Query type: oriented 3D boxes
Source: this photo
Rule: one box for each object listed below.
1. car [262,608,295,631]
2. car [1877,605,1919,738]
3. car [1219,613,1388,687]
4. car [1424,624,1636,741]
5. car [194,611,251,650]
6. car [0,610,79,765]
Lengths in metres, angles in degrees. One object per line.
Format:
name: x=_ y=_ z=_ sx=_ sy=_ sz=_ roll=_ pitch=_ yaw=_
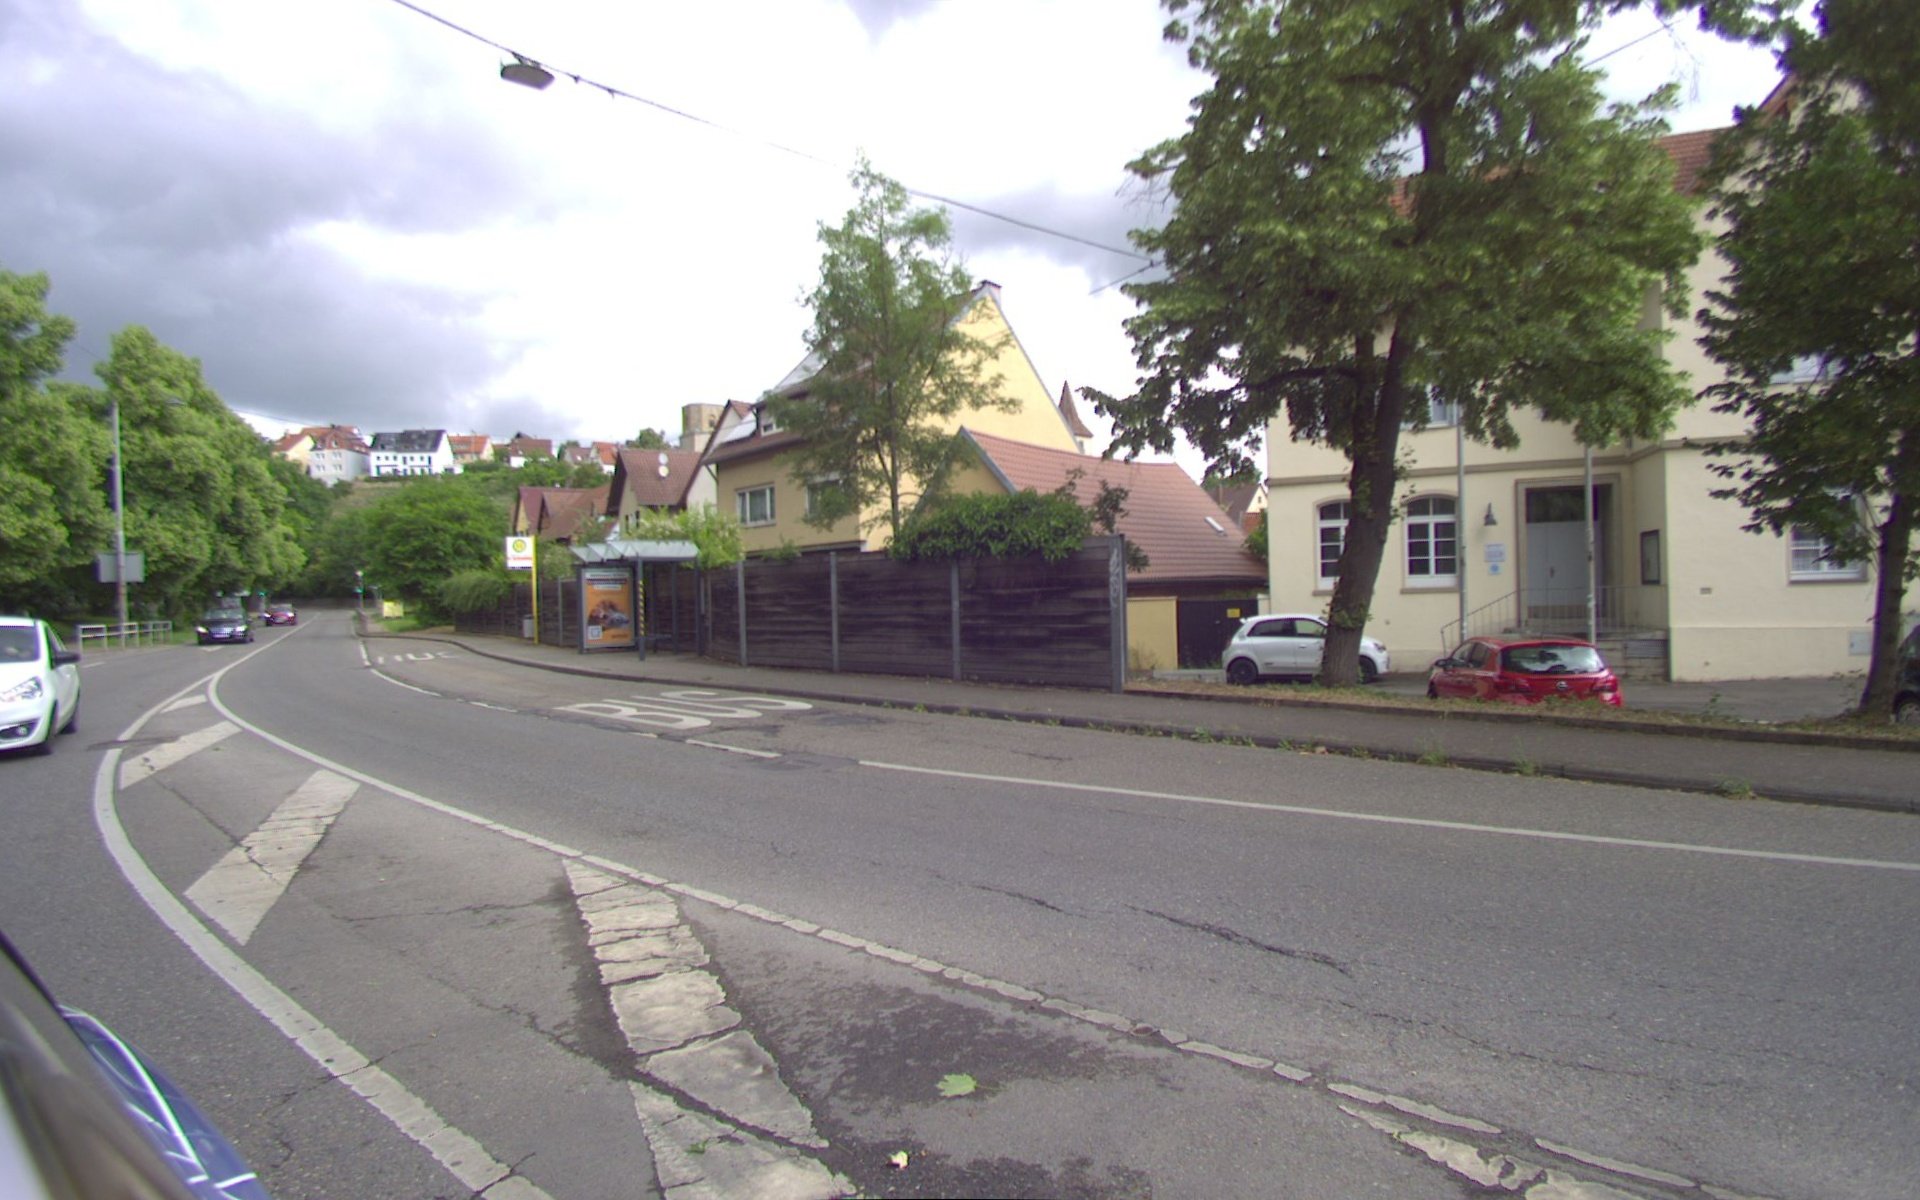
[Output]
car: x=-51.181 y=1.447 z=76.079 sx=1.798 sy=1.685 sz=4.070 roll=-1 pitch=0 yaw=-31
car: x=12.691 y=0.888 z=11.589 sx=1.586 sy=1.644 sz=3.093 roll=-1 pitch=0 yaw=2
car: x=7.737 y=1.107 z=22.927 sx=3.487 sy=1.528 sz=1.581 roll=-1 pitch=0 yaw=20
car: x=8.117 y=1.103 z=14.772 sx=1.590 sy=1.389 sz=3.544 roll=-1 pitch=0 yaw=10
car: x=-31.803 y=1.293 z=43.726 sx=1.696 sy=1.559 sz=3.792 roll=-1 pitch=0 yaw=-32
car: x=-10.962 y=0.893 z=11.149 sx=1.593 sy=1.525 sz=3.613 roll=-1 pitch=0 yaw=-37
